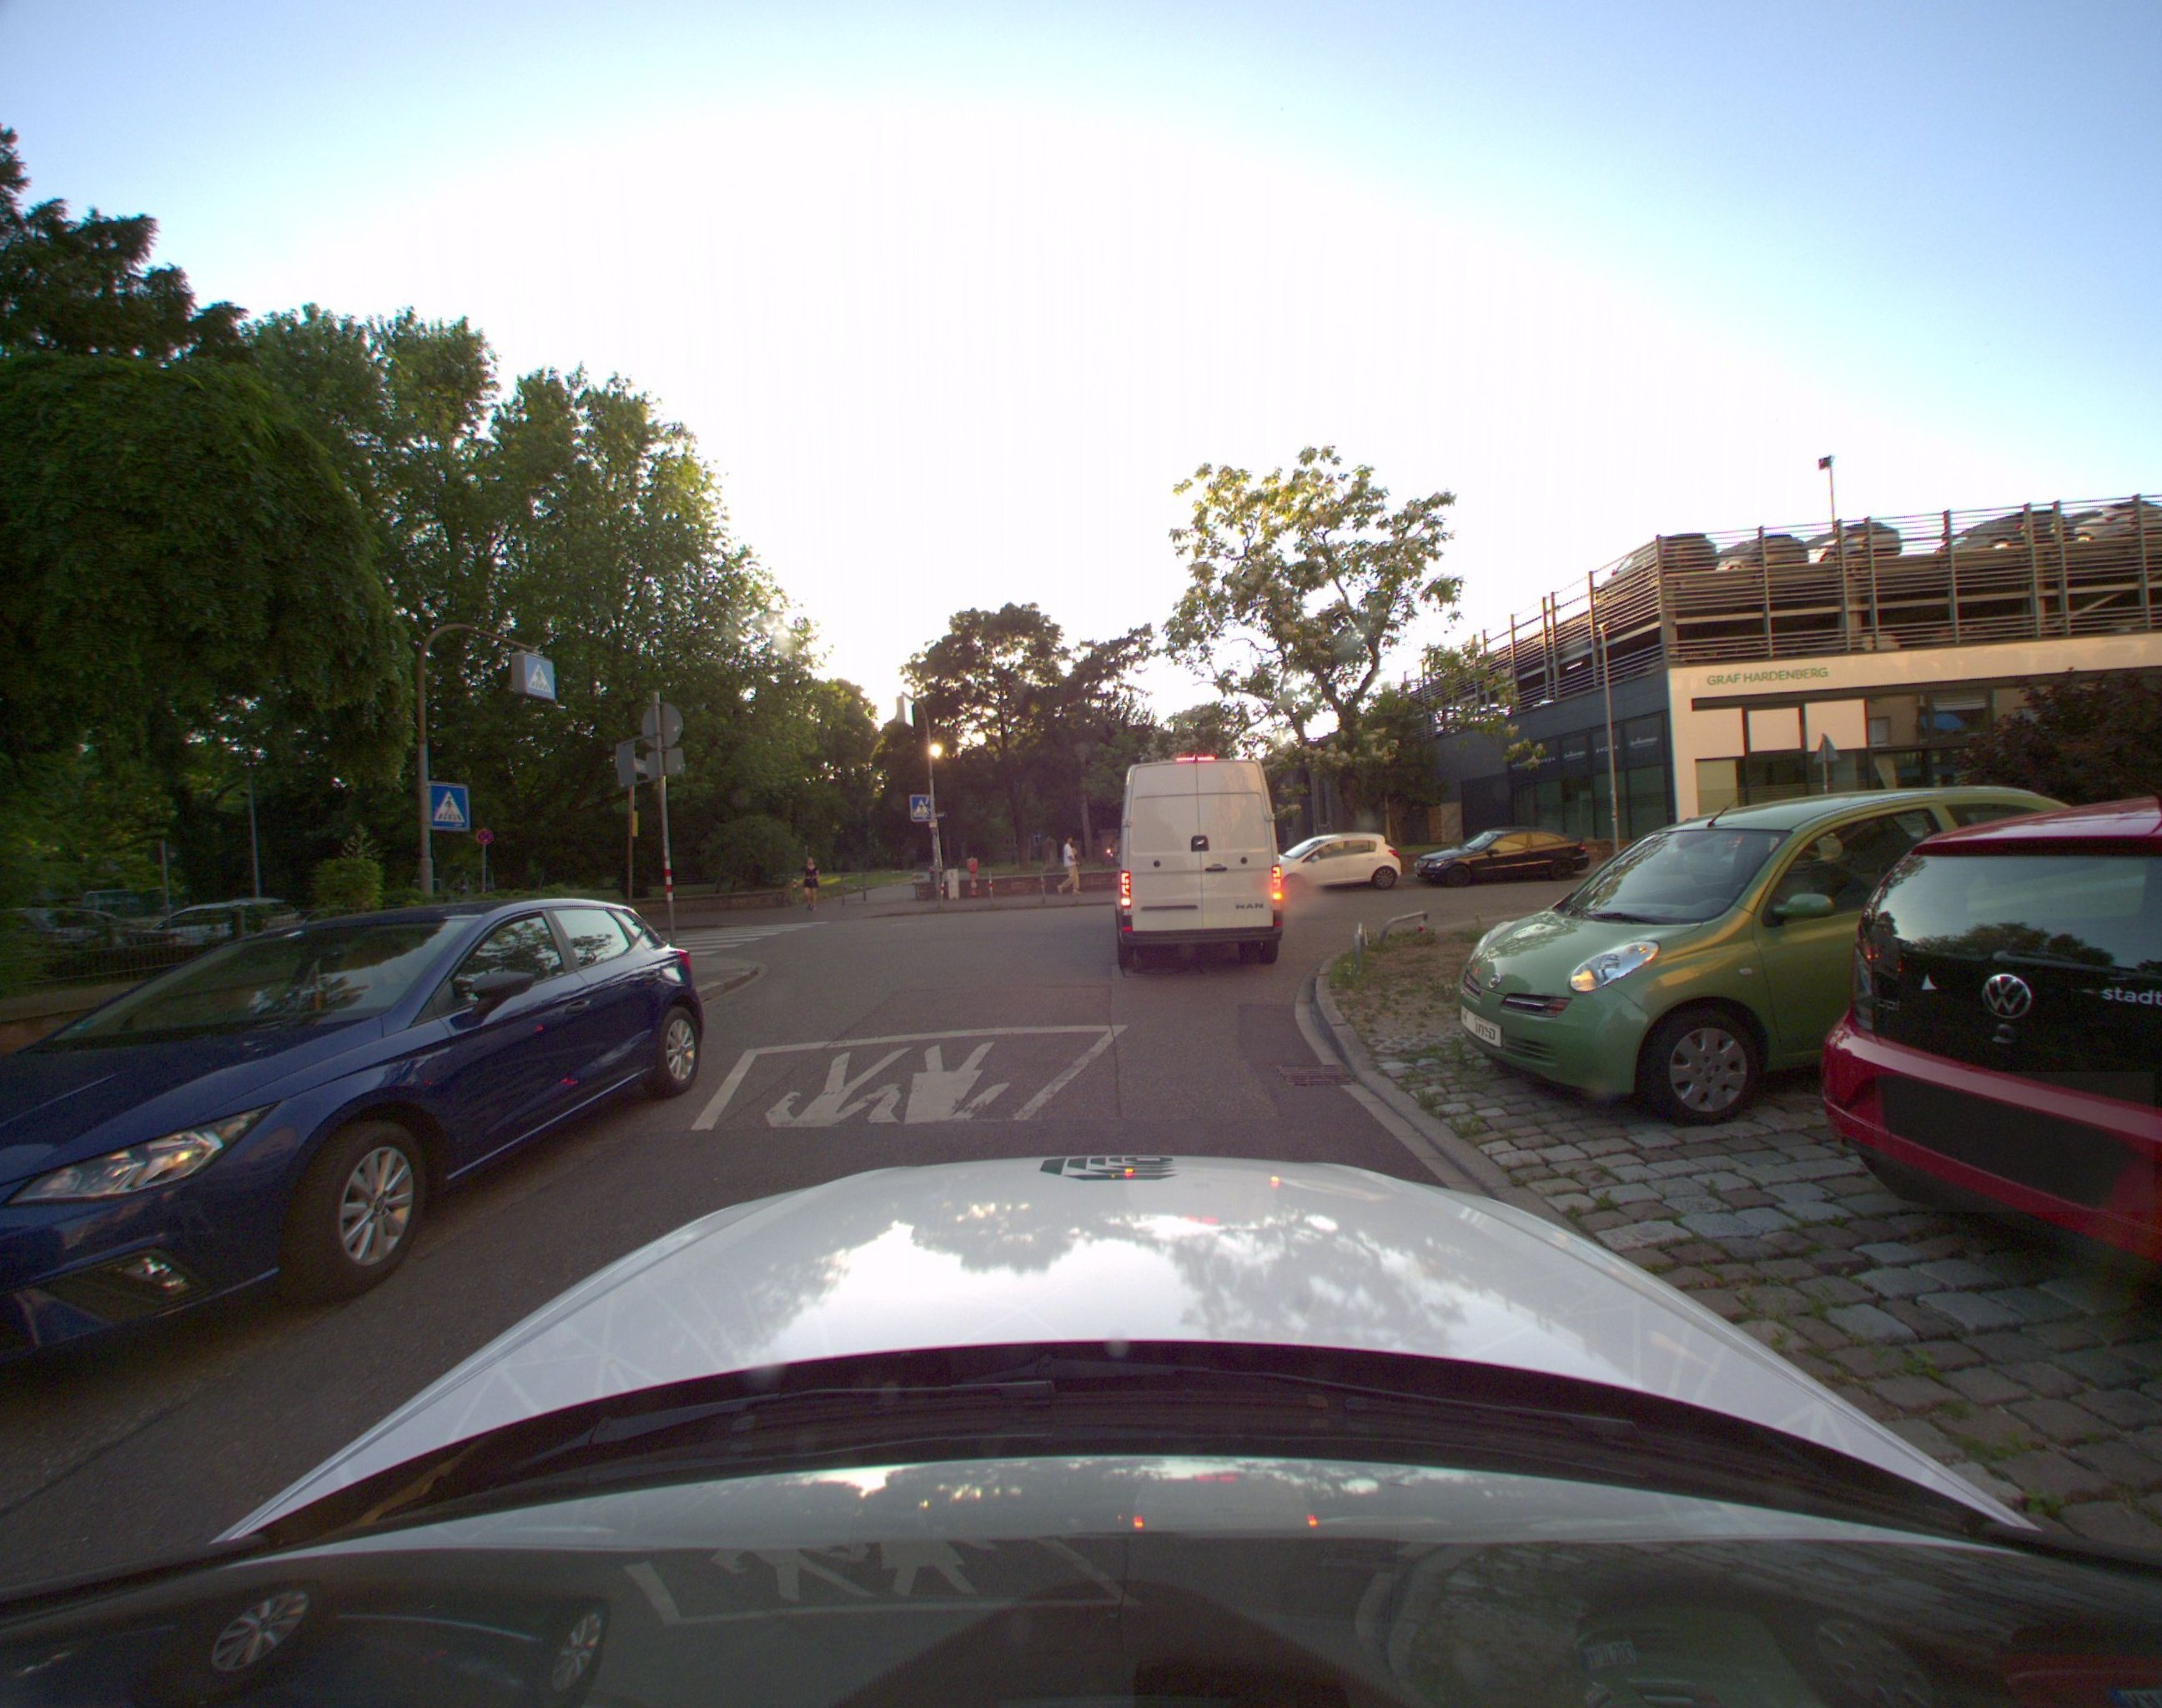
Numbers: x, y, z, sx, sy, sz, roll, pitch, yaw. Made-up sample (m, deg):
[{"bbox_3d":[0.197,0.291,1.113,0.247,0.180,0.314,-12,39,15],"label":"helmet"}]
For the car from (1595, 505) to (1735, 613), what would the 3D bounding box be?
[{"bbox_3d":[19.222,-9.671,27.045,1.984,2.013,4.007,-2,0,6],"label":"car"}]

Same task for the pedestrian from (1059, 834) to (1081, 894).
[{"bbox_3d":[-0.341,0.298,25.184,0.591,1.809,0.621,-2,0,2],"label":"pedestrian"}]

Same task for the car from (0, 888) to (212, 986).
[{"bbox_3d":[-21.480,1.774,17.268,4.212,1.799,1.824,-4,-3,2],"label":"car"}]

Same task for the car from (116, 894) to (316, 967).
[{"bbox_3d":[-25.652,2.255,24.246,3.852,1.562,1.826,-4,6,3],"label":"car"}]

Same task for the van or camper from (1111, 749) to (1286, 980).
[{"bbox_3d":[1.553,0.095,12.497,1.985,2.618,6.410,0,0,4],"label":"van or camper"}]

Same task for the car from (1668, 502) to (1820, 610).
[{"bbox_3d":[21.787,-9.752,27.004,1.984,2.013,4.007,-2,0,6],"label":"car"}]

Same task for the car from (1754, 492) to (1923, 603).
[{"bbox_3d":[24.510,-9.864,26.587,1.984,2.013,4.007,-2,0,6],"label":"car"}]

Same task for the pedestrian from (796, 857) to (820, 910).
[{"bbox_3d":[-8.590,0.914,25.644,0.648,1.648,0.670,-2,0,-17],"label":"pedestrian"}]

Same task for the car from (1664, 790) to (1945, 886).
[{"bbox_3d":[14.265,-0.308,16.266,3.819,1.523,1.826,-4,0,4],"label":"car"}]

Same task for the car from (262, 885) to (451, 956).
[{"bbox_3d":[-20.950,1.902,23.661,3.832,1.491,1.828,-4,6,7],"label":"car"}]

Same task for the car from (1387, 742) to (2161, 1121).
[{"bbox_3d":[4.481,0.353,5.036,4.392,1.631,1.844,-5,-2,-2],"label":"car"}]

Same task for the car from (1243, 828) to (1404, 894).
[{"bbox_3d":[6.669,0.175,22.670,3.844,1.574,1.957,-3,0,-2],"label":"car"}]

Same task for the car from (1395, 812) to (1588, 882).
[{"bbox_3d":[11.100,-0.179,22.271,4.273,1.503,1.826,-4,0,4],"label":"car"}]

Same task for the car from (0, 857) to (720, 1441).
[{"bbox_3d":[-3.539,0.883,4.143,1.729,1.567,3.787,-5,0,-3],"label":"car"}]

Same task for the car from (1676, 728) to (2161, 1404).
[{"bbox_3d":[4.767,0.265,2.476,4.386,1.631,1.847,-7,0,2],"label":"car"}]

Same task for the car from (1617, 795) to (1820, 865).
[{"bbox_3d":[16.838,-0.618,21.666,3.819,1.503,1.826,-4,0,4],"label":"car"}]

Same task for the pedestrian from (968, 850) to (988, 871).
[{"bbox_3d":[-7.849,0.491,62.239,1.324,1.444,1.046,-3,0,-1],"label":"pedestrian"}]
